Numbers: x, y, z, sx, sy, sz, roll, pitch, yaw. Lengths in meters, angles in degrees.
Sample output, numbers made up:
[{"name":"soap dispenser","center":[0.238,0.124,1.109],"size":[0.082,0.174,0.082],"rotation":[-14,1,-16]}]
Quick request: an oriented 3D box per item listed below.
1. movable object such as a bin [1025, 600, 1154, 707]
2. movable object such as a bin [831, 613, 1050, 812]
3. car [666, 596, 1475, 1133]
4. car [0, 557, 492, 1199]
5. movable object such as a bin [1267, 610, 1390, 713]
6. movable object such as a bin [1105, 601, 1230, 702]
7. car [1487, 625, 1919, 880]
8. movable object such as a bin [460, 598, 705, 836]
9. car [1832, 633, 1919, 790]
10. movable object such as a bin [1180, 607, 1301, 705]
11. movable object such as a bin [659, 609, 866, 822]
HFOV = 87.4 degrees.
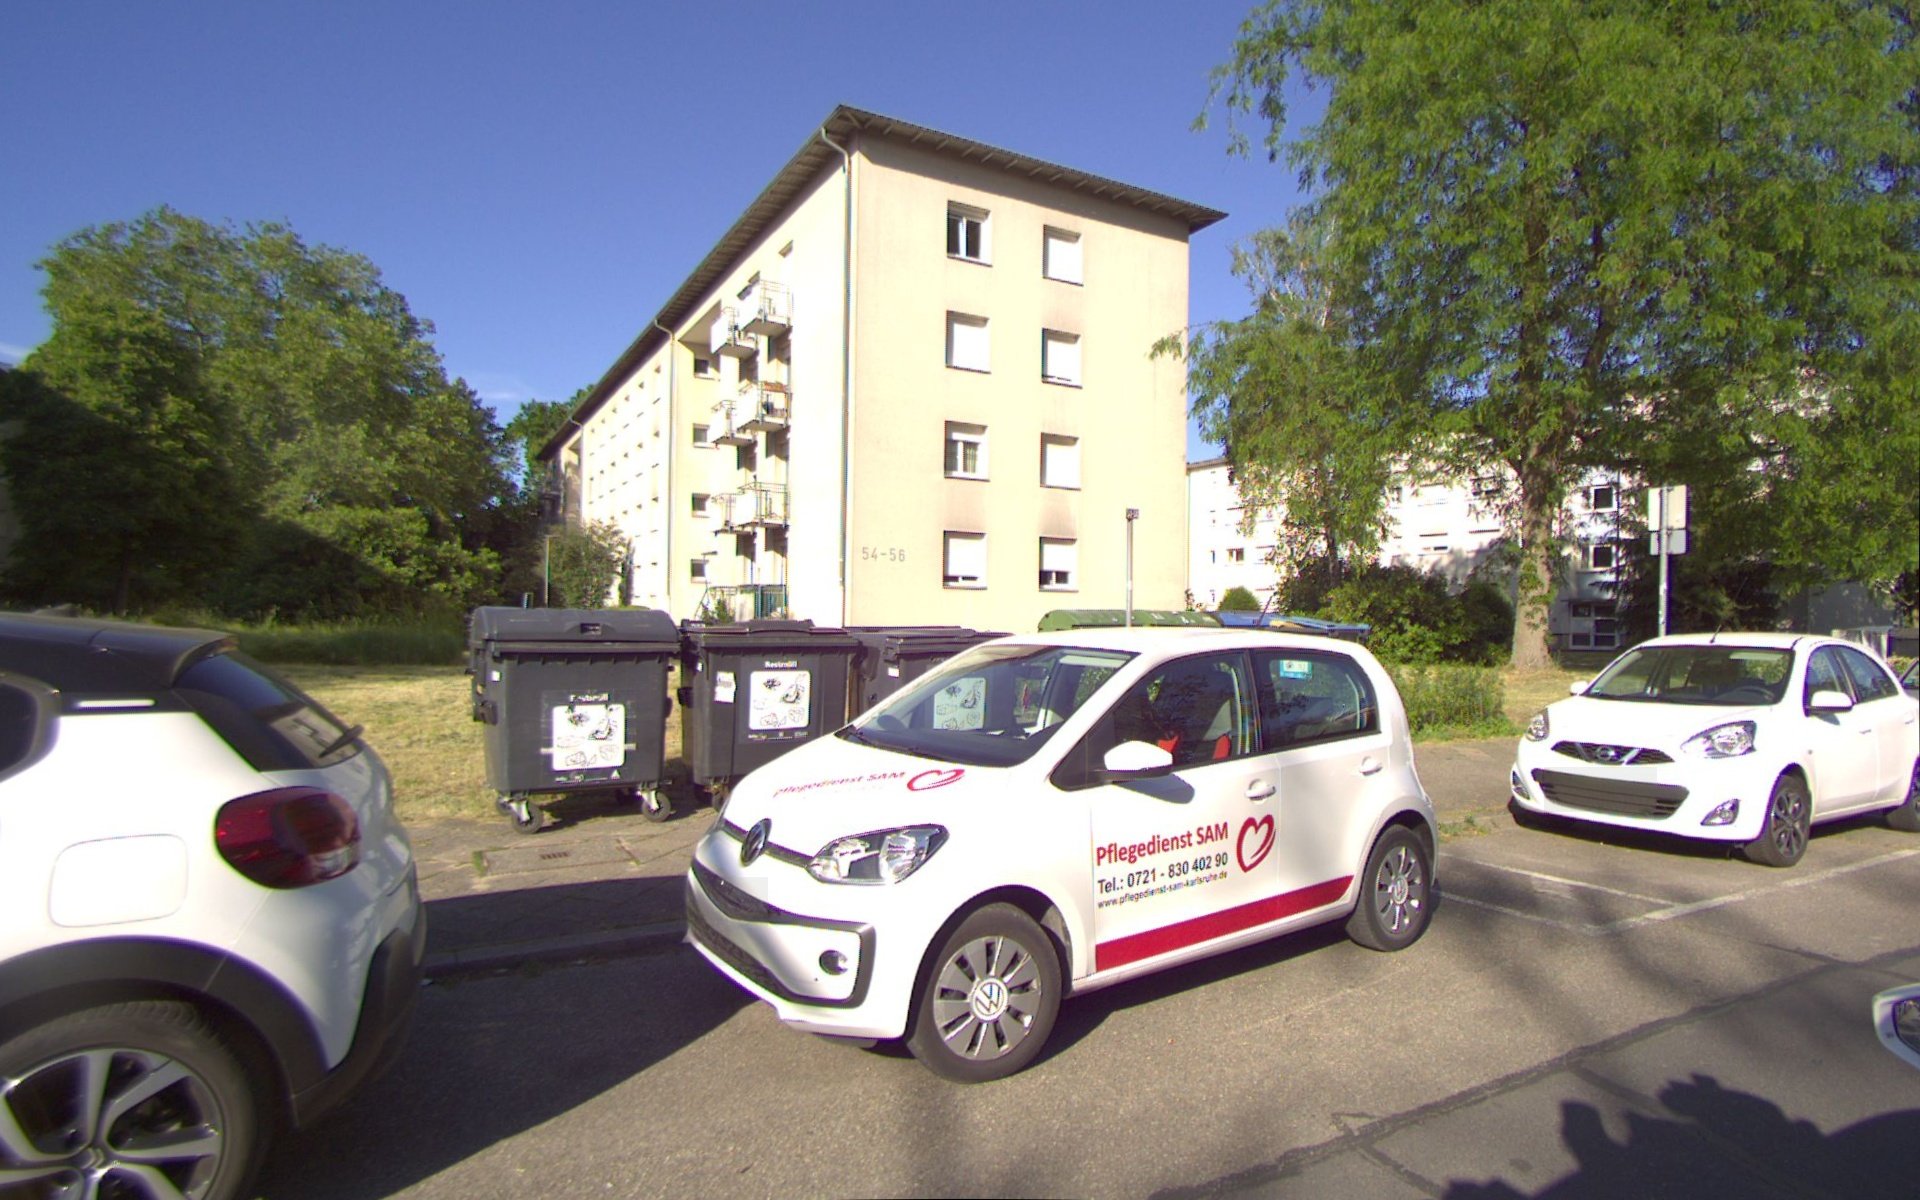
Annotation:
[{"name":"movable object such as a bin","center":[1.887,0.753,14.735],"size":[1.444,1.440,1.173],"rotation":[1,2,-28]},{"name":"movable object such as a bin","center":[-0.180,0.818,7.974],"size":[1.326,1.358,1.172],"rotation":[1,2,-28]},{"name":"car","center":[0.656,0.813,4.599],"size":[3.504,1.533,1.651],"rotation":[2,-2,-36]},{"name":"car","center":[-3.253,0.679,2.249],"size":[3.897,1.533,1.655],"rotation":[1,-2,-29]},{"name":"movable object such as a bin","center":[5.623,0.904,15.363],"size":[1.344,1.440,1.129],"rotation":[1,2,-28]},{"name":"movable object such as a bin","center":[3.185,0.766,15.501],"size":[1.444,1.440,1.173],"rotation":[1,2,-28]},{"name":"car","center":[6.057,0.990,7.859],"size":[3.846,1.555,1.678],"rotation":[1,-2,-31]},{"name":"movable object such as a bin","center":[-2.618,0.720,6.909],"size":[1.424,1.401,1.131],"rotation":[1,2,-28]},{"name":"car","center":[11.033,1.123,10.647],"size":[3.775,1.525,1.678],"rotation":[1,-1,-32]},{"name":"movable object such as a bin","center":[4.511,0.877,16.203],"size":[1.444,1.440,1.173],"rotation":[1,2,-28]},{"name":"movable object such as a bin","center":[-1.504,0.793,7.524],"size":[1.228,1.376,1.131],"rotation":[1,2,-28]}]
